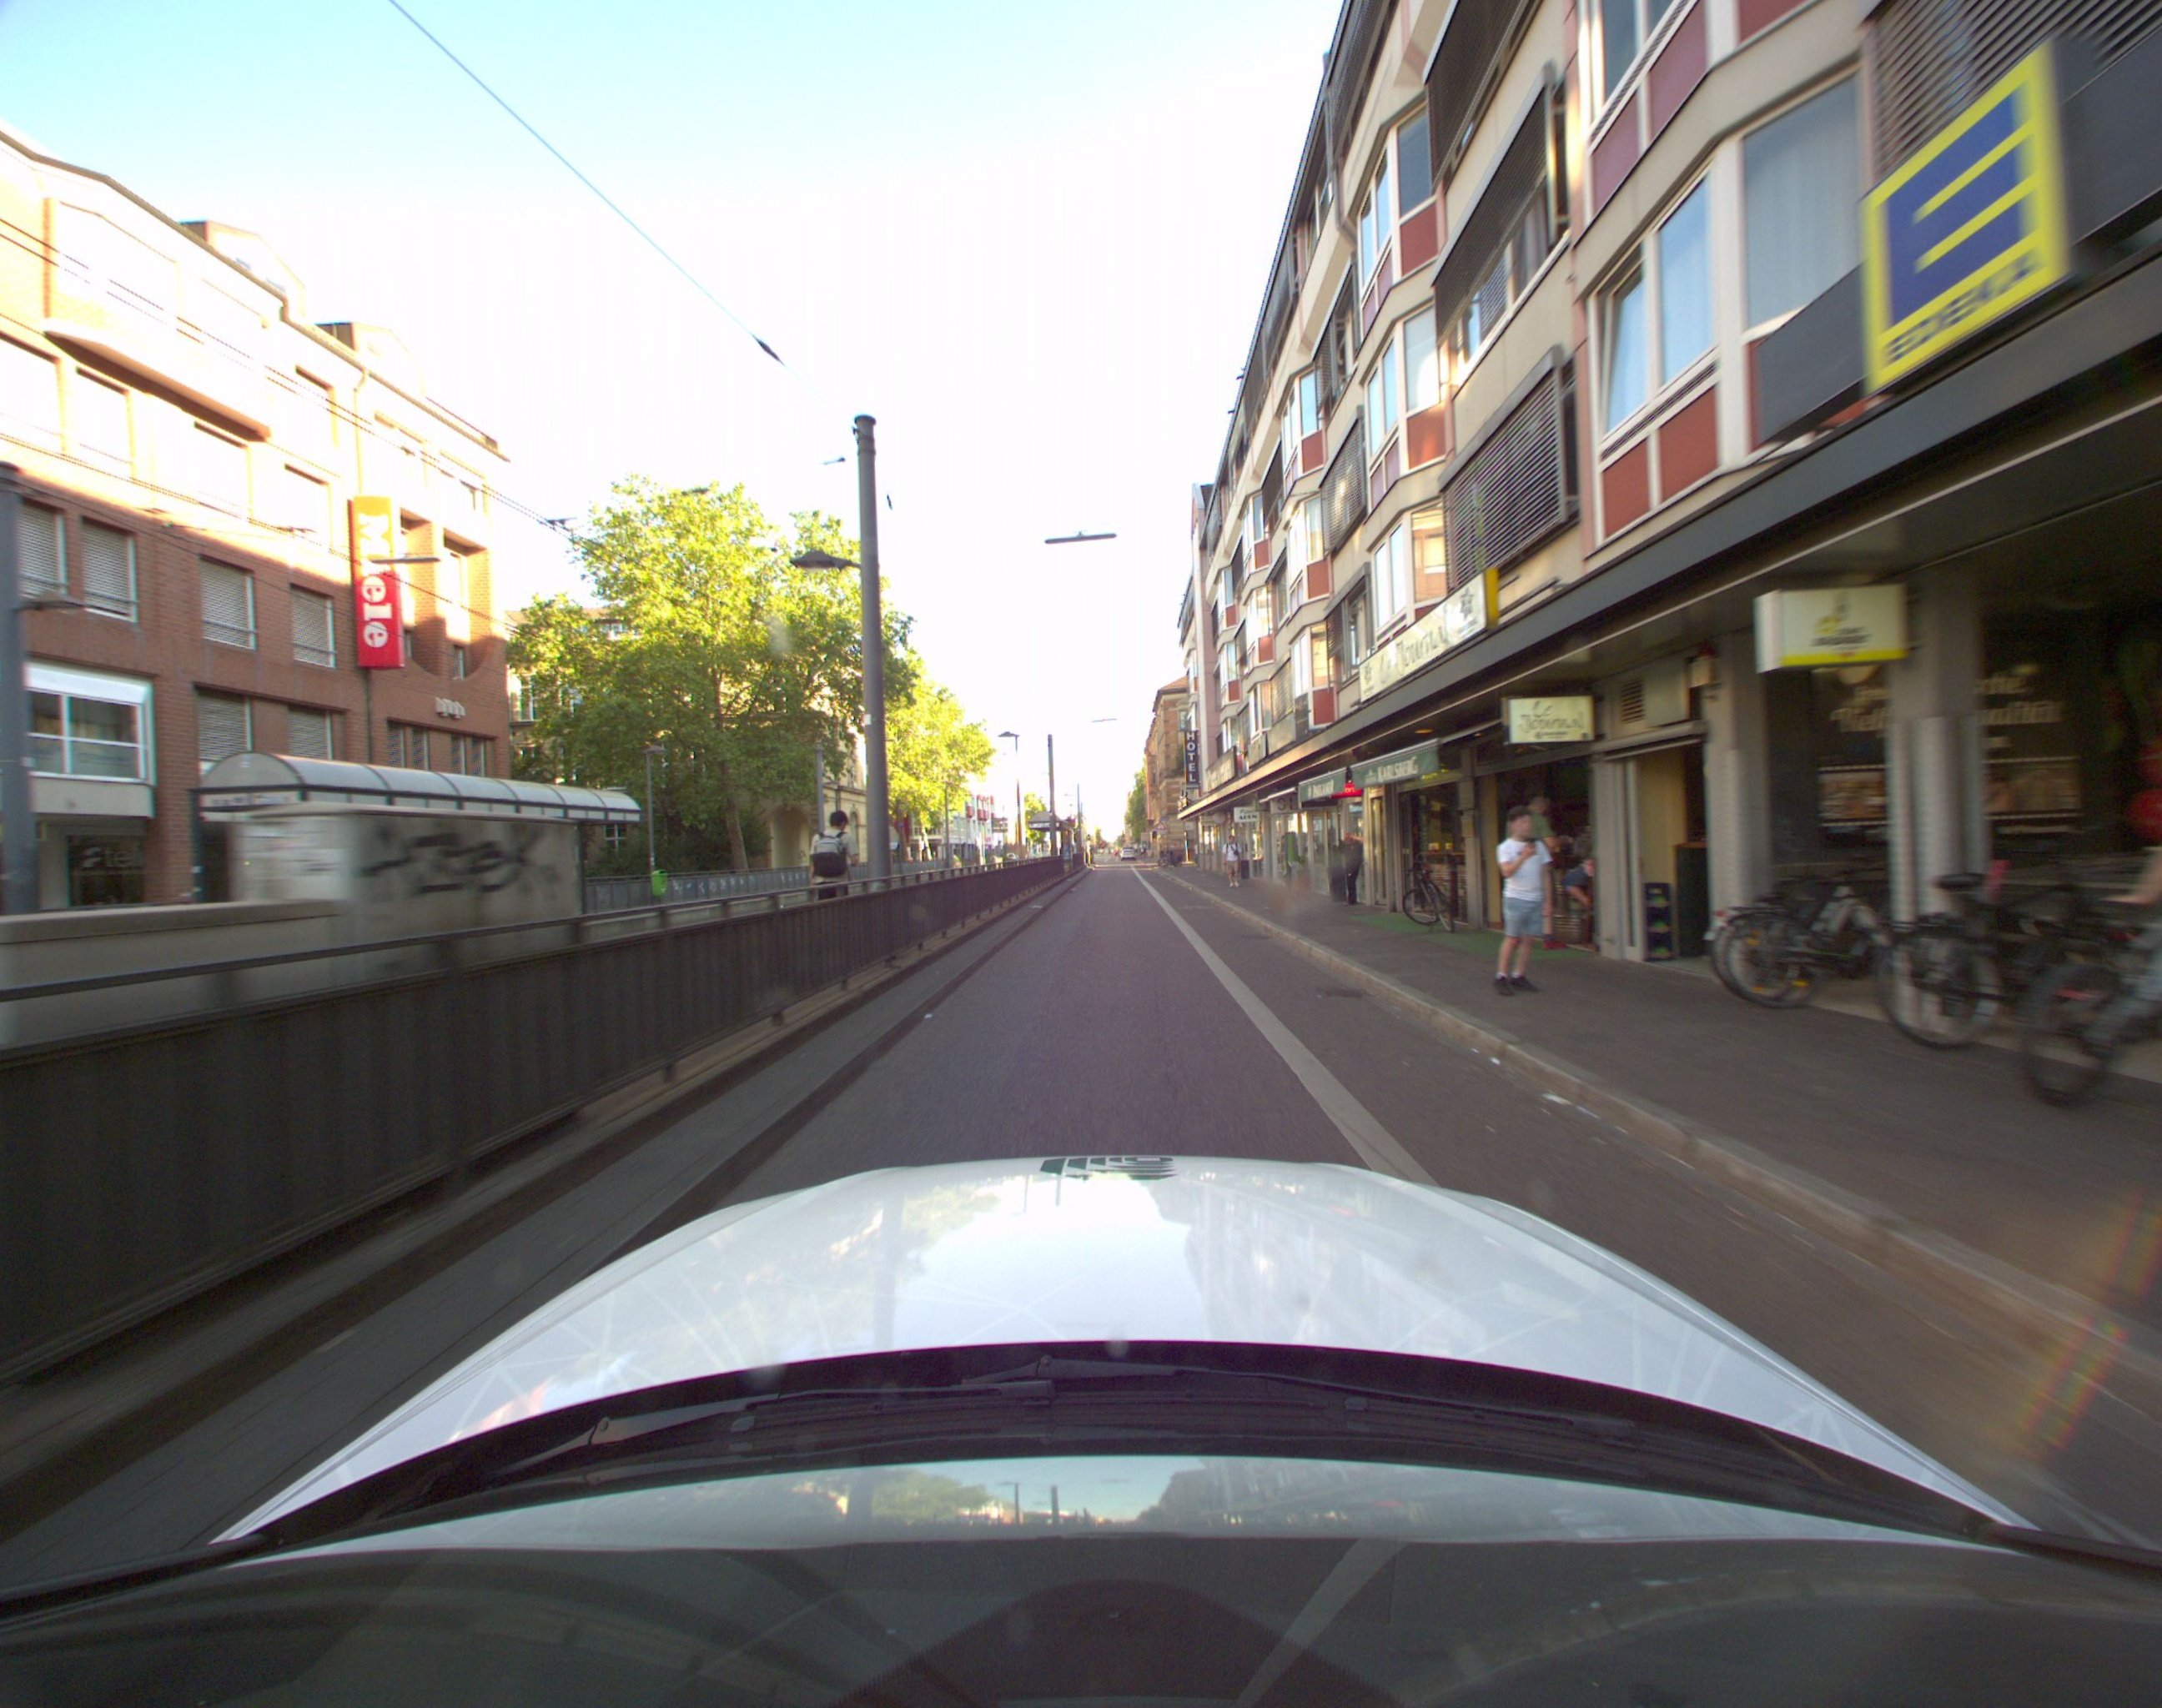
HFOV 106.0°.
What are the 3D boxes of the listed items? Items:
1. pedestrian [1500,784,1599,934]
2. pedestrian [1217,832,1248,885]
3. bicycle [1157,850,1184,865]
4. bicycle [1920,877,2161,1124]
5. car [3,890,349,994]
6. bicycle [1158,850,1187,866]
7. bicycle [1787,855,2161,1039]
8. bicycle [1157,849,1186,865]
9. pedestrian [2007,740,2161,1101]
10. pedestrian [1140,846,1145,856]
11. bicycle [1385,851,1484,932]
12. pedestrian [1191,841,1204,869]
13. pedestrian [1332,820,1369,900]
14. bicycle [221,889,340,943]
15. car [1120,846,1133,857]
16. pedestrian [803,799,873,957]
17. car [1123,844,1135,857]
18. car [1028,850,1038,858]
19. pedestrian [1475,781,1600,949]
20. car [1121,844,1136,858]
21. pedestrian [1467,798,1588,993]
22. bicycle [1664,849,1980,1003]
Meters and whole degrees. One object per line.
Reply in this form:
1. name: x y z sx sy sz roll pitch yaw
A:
1. pedestrian: 6.131 0.060 10.682 0.779 1.866 0.683 -4 -1 -18
2. pedestrian: 5.190 0.153 28.014 0.794 1.722 1.062 -5 -1 4
3. bicycle: 6.545 0.229 59.438 1.828 1.054 0.718 -2 0 -1
4. bicycle: 5.392 0.619 3.855 2.013 0.973 0.660 -5 0 4
5. car: -17.519 1.611 16.164 1.902 1.594 4.293 -3 -1 3
6. bicycle: 6.515 0.272 58.050 1.907 1.047 0.681 -2 0 -1
7. bicycle: 5.621 0.570 5.139 1.721 0.973 0.507 -5 0 6
8. bicycle: 6.522 0.211 58.708 1.964 1.104 0.614 -2 0 -1
9. pedestrian: 5.344 0.287 3.854 0.774 1.663 0.917 -4 0 0
10. pedestrian: 10.148 -0.551 134.280 0.772 1.567 0.914 -5 0 3
11. bicycle: 5.309 0.529 12.358 0.655 1.067 1.795 -6 0 2
12. pedestrian: 7.851 0.079 54.953 0.809 1.884 0.777 1 0 3
13. pedestrian: 5.815 0.124 17.593 0.540 1.673 0.468 -3 -1 -7
14. bicycle: -20.872 1.602 21.246 2.593 1.282 0.843 0 0 9
15. car: 7.634 -0.364 136.693 1.942 1.788 5.183 0 0 1
16. pedestrian: -2.858 0.270 9.628 0.581 1.791 0.606 -2 0 0
17. car: 7.724 -0.524 131.302 1.697 2.120 3.712 -1 -1 5
18. car: -9.865 0.016 167.125 1.863 1.600 4.253 -1 0 0
19. pedestrian: 5.489 0.129 9.838 0.912 1.866 0.779 -5 0 -1
20. car: 6.361 -0.437 108.760 1.958 1.771 4.880 -1 0 3
21. pedestrian: 4.081 0.362 7.499 0.629 1.673 0.771 -3 0 2
22. bicycle: 5.848 0.547 6.494 1.917 1.060 0.577 -4 0 1
